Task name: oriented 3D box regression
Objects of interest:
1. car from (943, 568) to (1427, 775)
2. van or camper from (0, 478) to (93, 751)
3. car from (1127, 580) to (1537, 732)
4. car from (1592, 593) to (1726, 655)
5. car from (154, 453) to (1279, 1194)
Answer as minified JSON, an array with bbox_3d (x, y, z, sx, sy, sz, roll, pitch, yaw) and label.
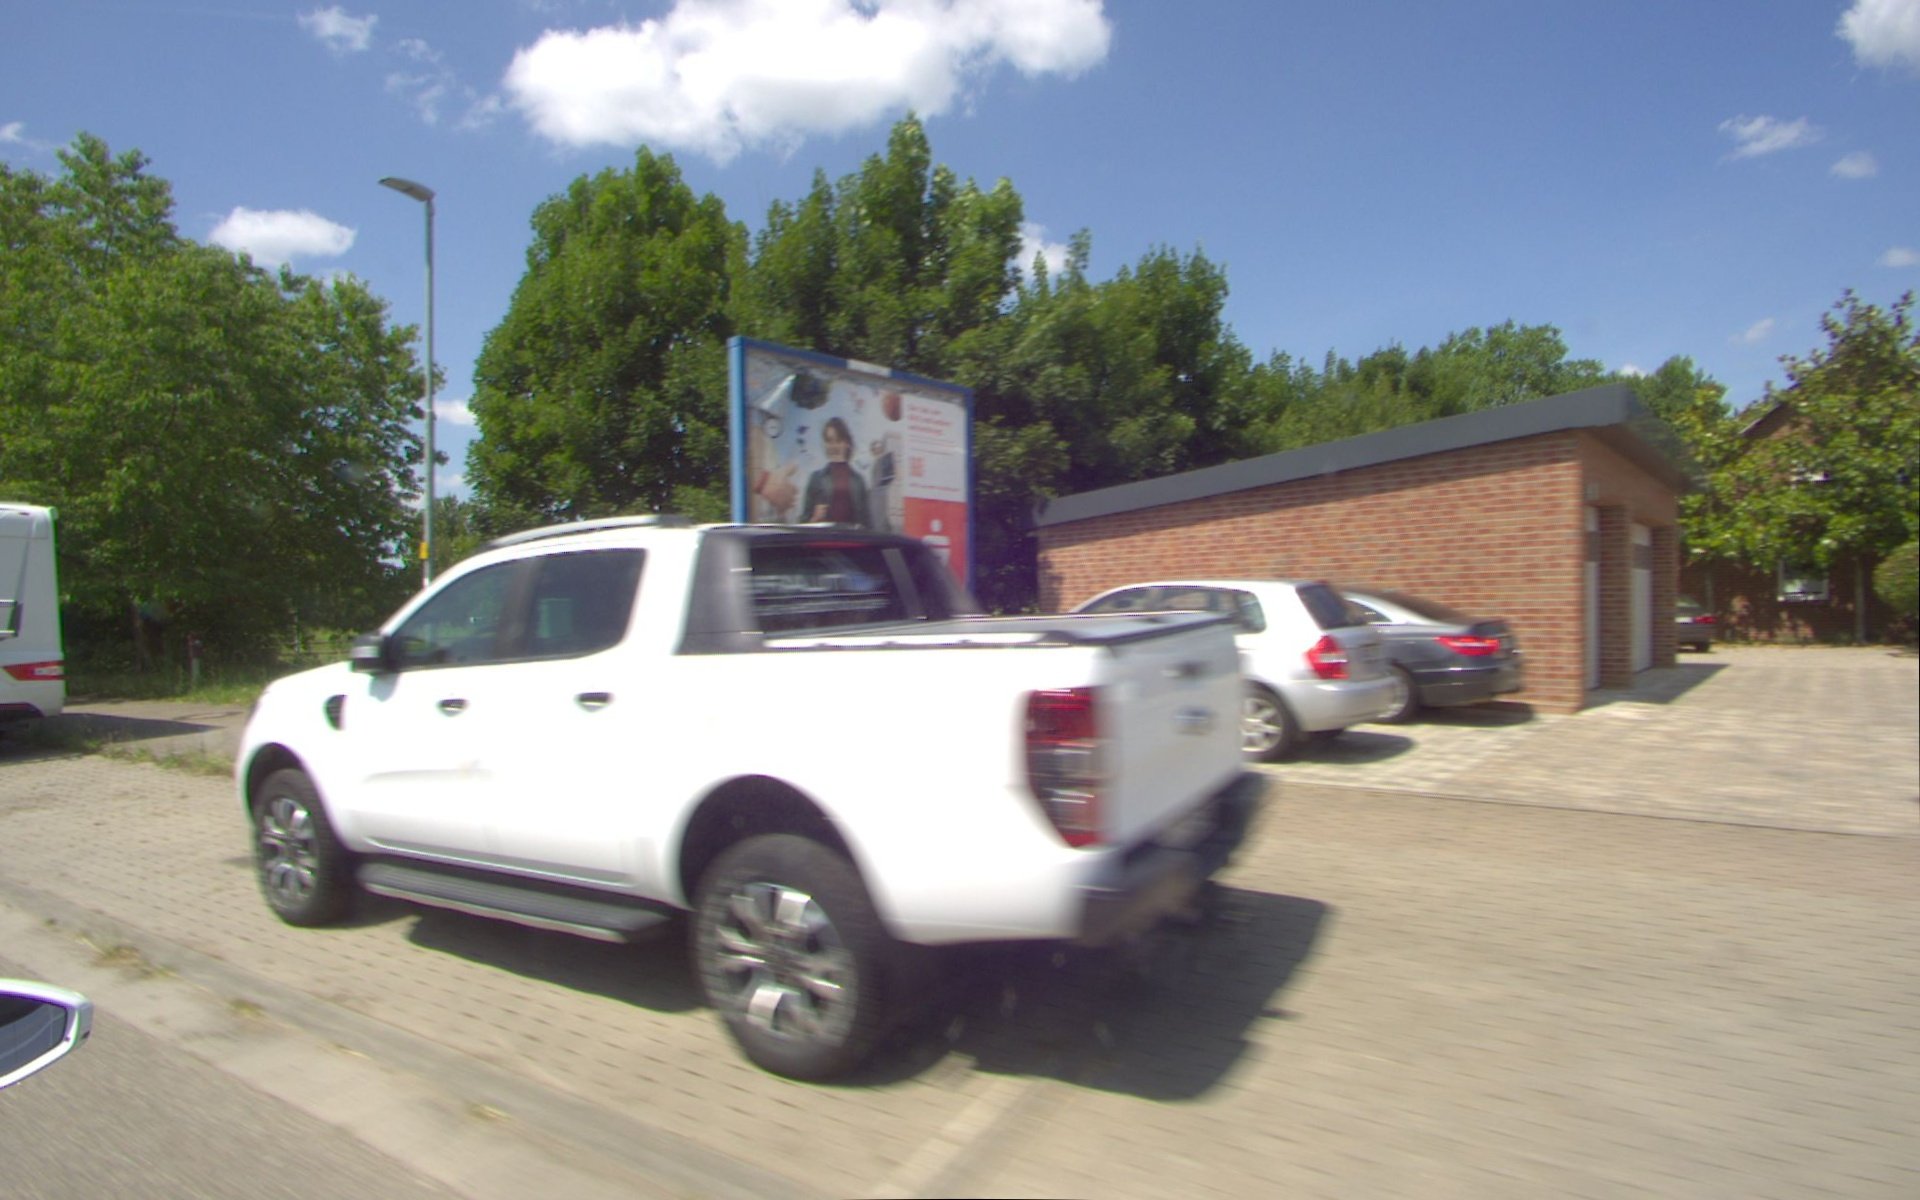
[{"bbox_3d":[1.959,0.543,9.251,3.952,1.499,1.897,-1,0,39],"label":"car"},{"bbox_3d":[-13.517,0.226,12.112,7.514,2.865,2.433,-1,1,32],"label":"van or camper"},{"bbox_3d":[4.018,0.553,11.142,3.953,1.394,1.739,-1,-1,40],"label":"car"},{"bbox_3d":[16.505,0.525,23.836,1.615,1.353,3.811,-1,0,19],"label":"car"},{"bbox_3d":[-1.471,0.548,4.668,5.347,1.840,1.842,-1,3,32],"label":"car"}]
